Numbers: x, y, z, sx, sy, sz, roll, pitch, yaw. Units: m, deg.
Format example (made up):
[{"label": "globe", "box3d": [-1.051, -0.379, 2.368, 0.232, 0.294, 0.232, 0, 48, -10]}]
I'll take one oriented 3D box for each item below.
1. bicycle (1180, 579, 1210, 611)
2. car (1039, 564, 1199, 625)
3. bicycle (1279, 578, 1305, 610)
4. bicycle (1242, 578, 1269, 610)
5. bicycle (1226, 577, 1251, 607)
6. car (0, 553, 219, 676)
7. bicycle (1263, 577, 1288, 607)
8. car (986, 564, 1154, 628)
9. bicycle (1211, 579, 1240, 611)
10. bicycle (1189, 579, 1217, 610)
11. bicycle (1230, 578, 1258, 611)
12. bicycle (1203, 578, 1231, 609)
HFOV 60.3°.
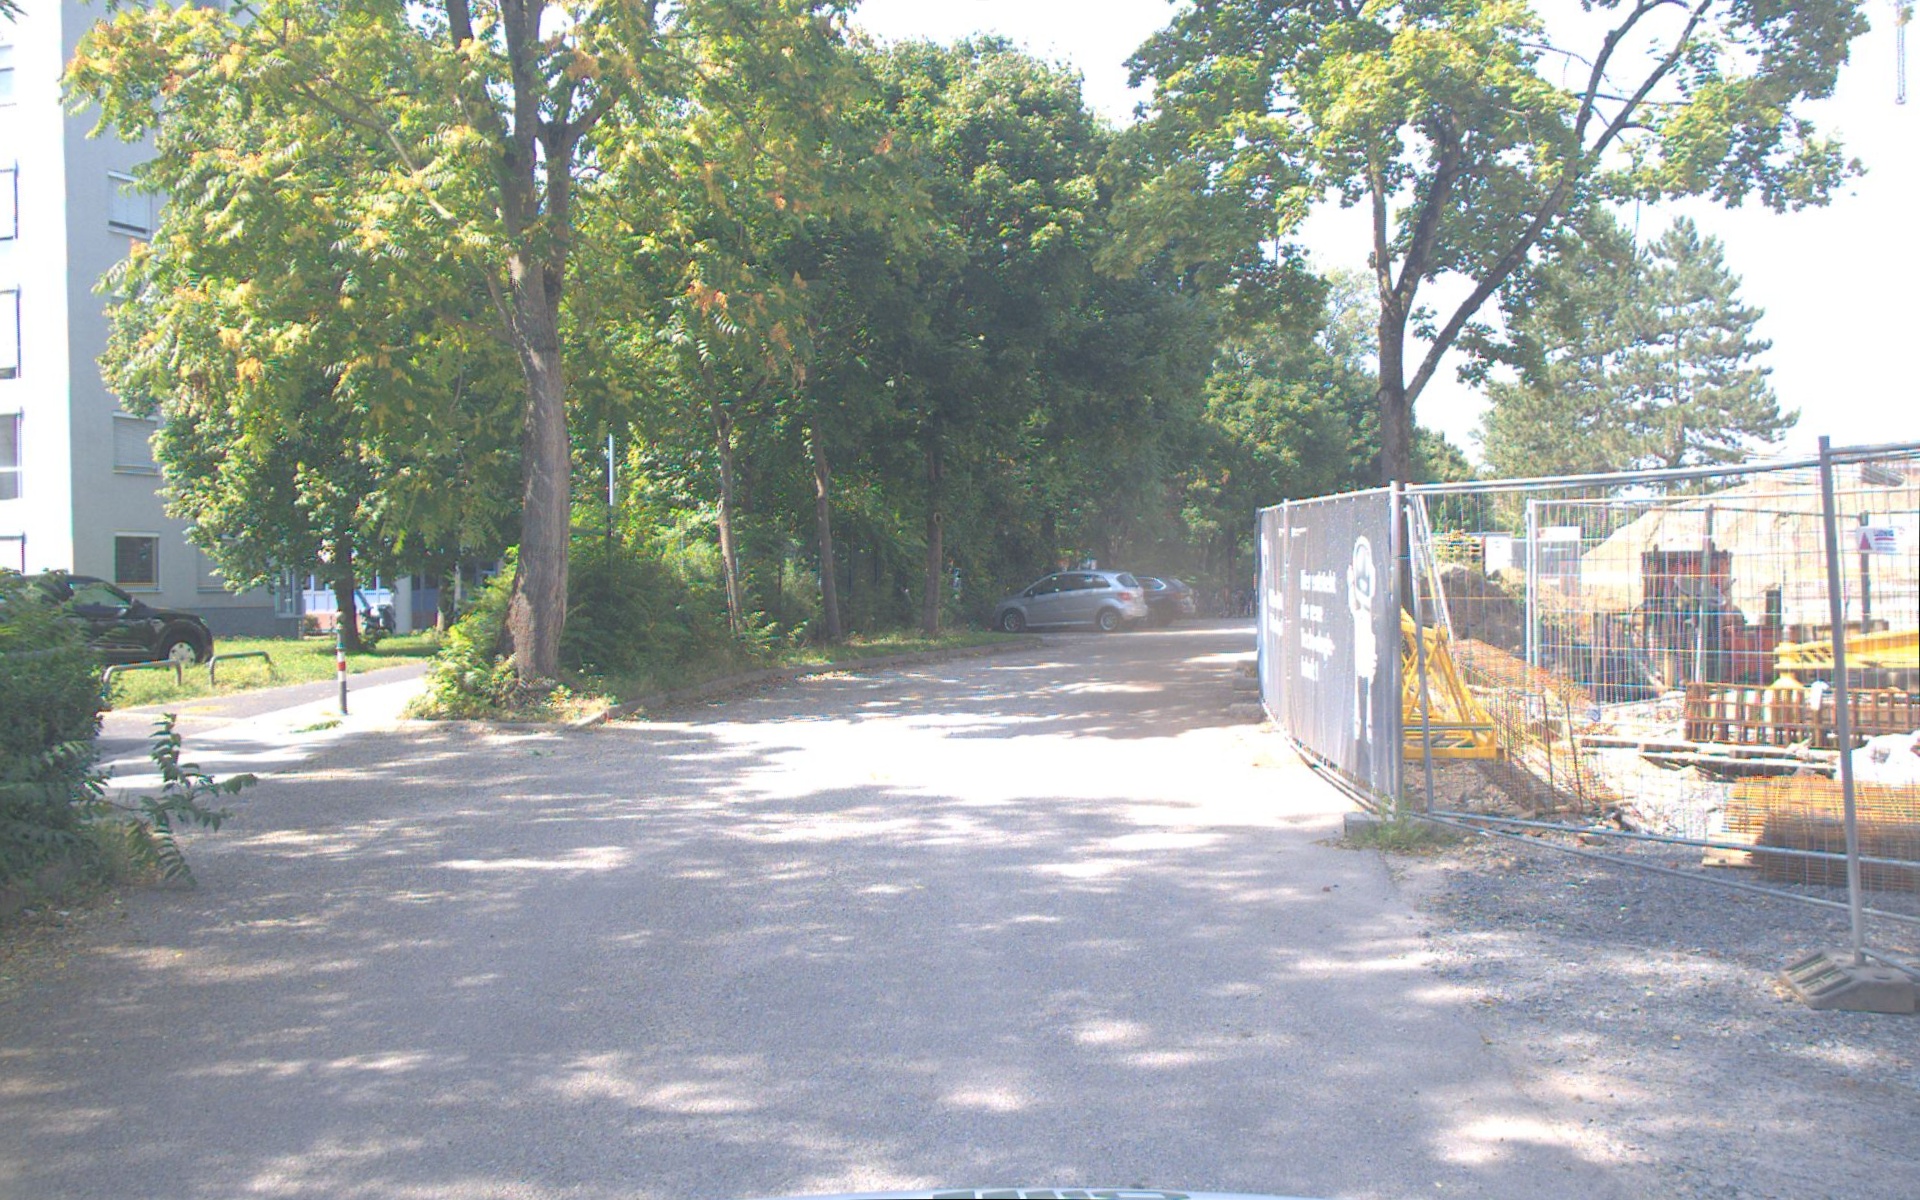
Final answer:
[{"label": "bicycle", "box3d": [8.453, -0.198, 59.449, 0.489, 1.127, 1.798, 0, 1, 27]}, {"label": "car", "box3d": [4.461, -0.182, 46.399, 4.064, 1.640, 2.000, 0, 1, 23]}, {"label": "bicycle", "box3d": [12.071, -0.226, 60.112, 0.489, 1.127, 1.798, 0, 1, 27]}, {"label": "bicycle", "box3d": [10.945, -0.235, 61.151, 0.489, 1.127, 1.798, 0, 1, 27]}, {"label": "bicycle", "box3d": [10.927, -0.323, 64.888, 0.489, 1.127, 1.798, 0, 1, 27]}, {"label": "car", "box3d": [-12.320, 0.163, 22.487, 1.669, 1.554, 3.907, 0, 1, 28]}, {"label": "bicycle", "box3d": [12.194, -0.304, 63.868, 0.489, 1.127, 1.798, 0, 1, 27]}, {"label": "car", "box3d": [2.957, -0.138, 44.211, 4.064, 1.640, 2.000, 0, 1, 23]}, {"label": "bicycle", "box3d": [9.524, -0.191, 59.301, 0.489, 1.127, 1.798, 0, 1, 27]}, {"label": "bicycle", "box3d": [9.027, -0.228, 61.505, 0.489, 1.127, 1.798, 0, 1, 27]}, {"label": "bicycle", "box3d": [10.066, -0.211, 58.658, 0.489, 1.127, 1.798, 0, 1, 27]}, {"label": "bicycle", "box3d": [9.522, -0.240, 61.313, 0.489, 1.127, 1.798, 0, 1, 27]}]
